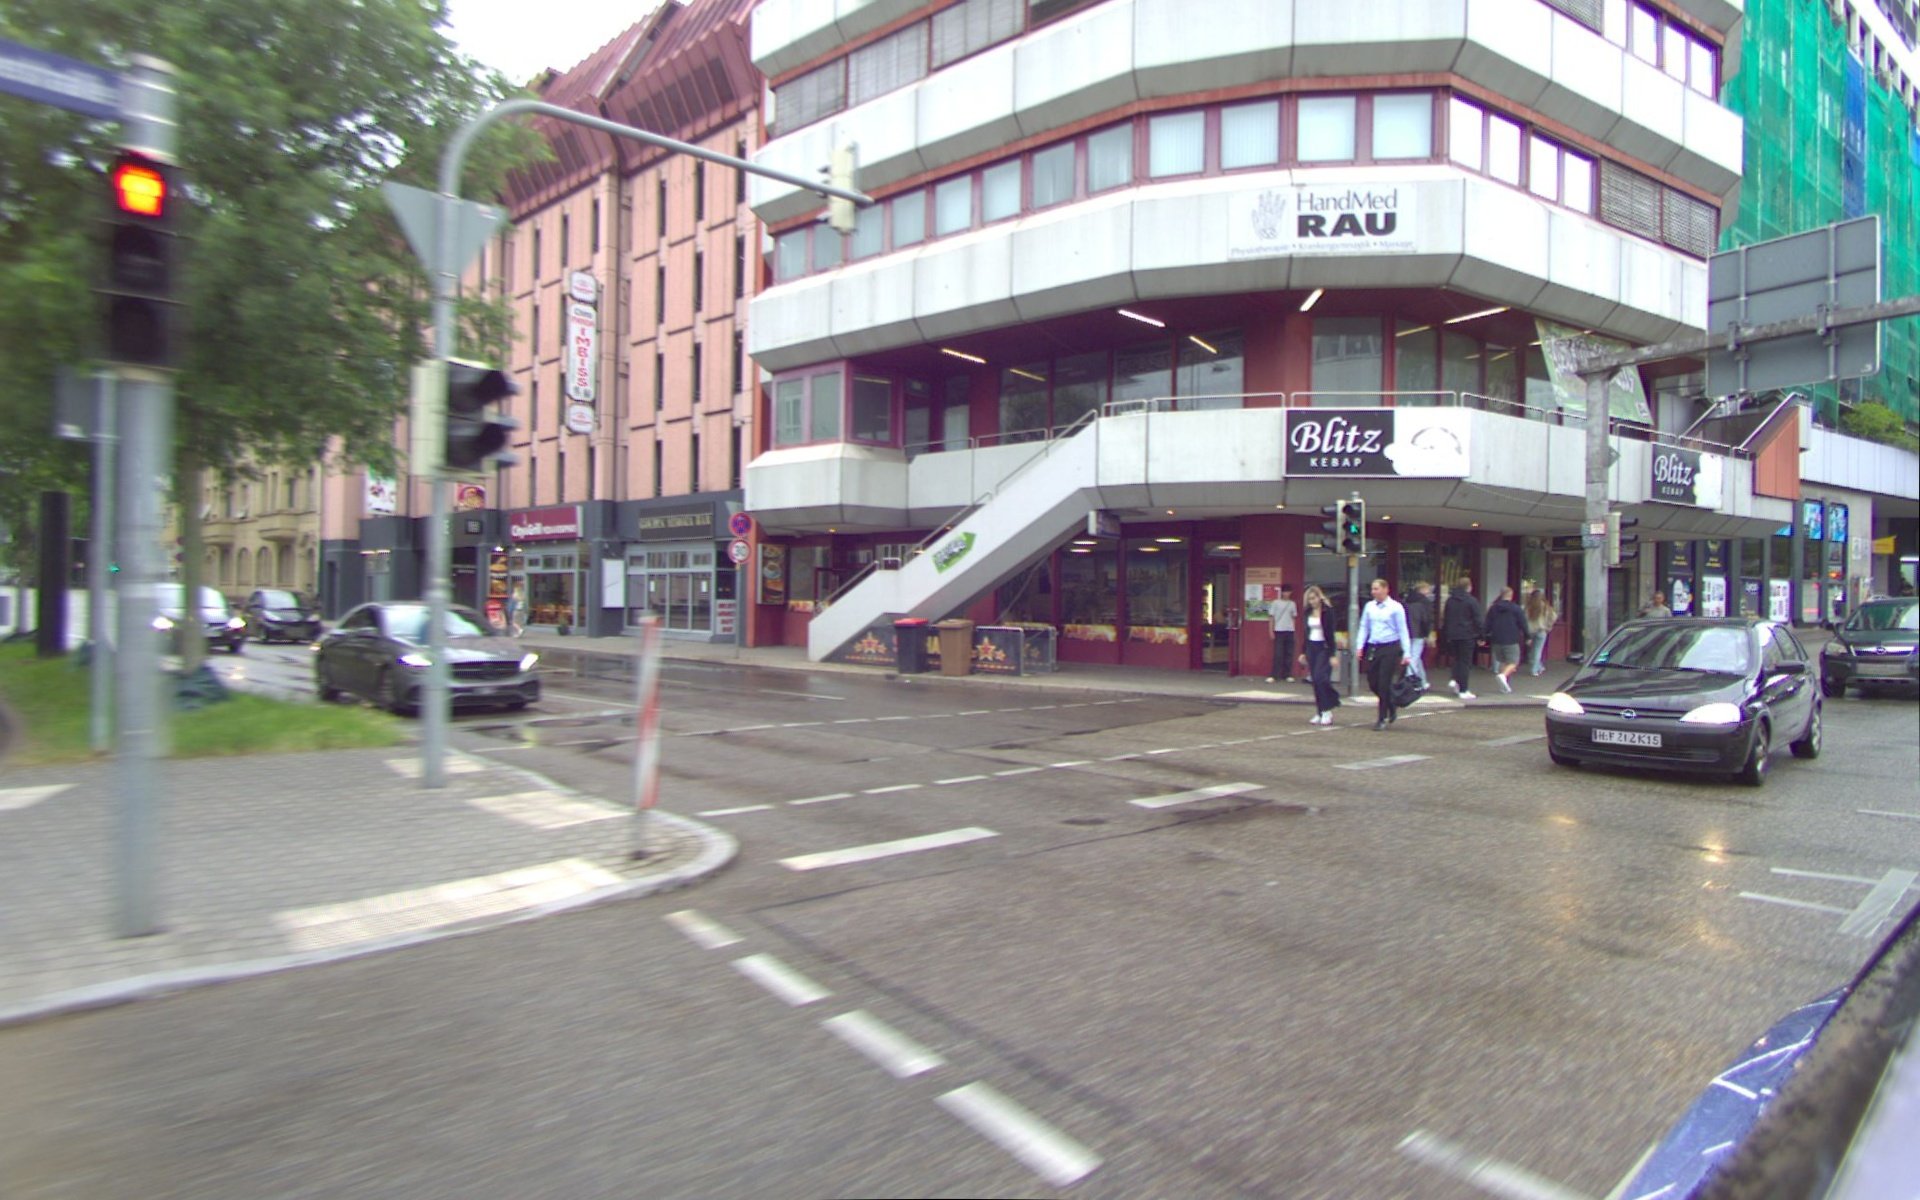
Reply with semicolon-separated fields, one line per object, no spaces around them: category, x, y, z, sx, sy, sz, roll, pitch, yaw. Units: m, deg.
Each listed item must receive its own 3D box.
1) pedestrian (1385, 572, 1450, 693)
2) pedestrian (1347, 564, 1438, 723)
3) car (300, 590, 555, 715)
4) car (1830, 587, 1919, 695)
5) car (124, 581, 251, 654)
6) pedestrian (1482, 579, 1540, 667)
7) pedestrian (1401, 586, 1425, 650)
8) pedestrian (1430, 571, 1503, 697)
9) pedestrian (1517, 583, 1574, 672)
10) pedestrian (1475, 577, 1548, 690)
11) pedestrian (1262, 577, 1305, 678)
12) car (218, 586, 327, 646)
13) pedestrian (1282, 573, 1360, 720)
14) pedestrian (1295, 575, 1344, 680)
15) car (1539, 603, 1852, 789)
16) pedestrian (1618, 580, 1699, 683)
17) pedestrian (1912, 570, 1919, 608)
pedestrian;7.492;0.500;16.580;0.664;1.919;0.734;-1;1;-36
pedestrian;5.318;0.501;12.448;0.831;1.870;0.625;-2;1;-29
car;-7.391;0.598;13.869;4.257;1.438;1.760;1;0;42
car;16.633;0.643;17.398;4.171;1.700;1.735;0;-1;-38
car;-19.040;0.383;24.896;3.986;1.616;1.857;1;1;43
pedestrian;11.121;0.452;20.426;0.952;1.727;0.591;1;1;-33
pedestrian;10.956;0.430;24.472;0.453;1.505;0.507;0;2;16
pedestrian;8.041;0.513;16.058;0.775;1.925;0.761;-1;1;-35
pedestrian;11.507;0.530;19.892;0.922;1.684;0.576;1;1;-33
pedestrian;9.201;0.536;16.884;0.872;1.802;0.750;-1;0;-39
pedestrian;5.861;0.481;18.339;0.502;1.785;0.528;-2;1;-35
car;-20.093;0.481;29.528;3.985;1.571;1.780;-3;0;43
pedestrian;4.617;0.569;12.949;0.663;1.795;0.625;-2;1;-29
pedestrian;6.292;0.462;17.717;0.483;1.785;0.597;-2;1;-35
car;7.227;0.791;9.836;3.561;1.459;1.596;1;0;-39
pedestrian;13.083;0.560;18.961;0.789;1.800;0.900;-2;6;-32
pedestrian;38.674;-0.437;40.638;0.518;1.507;0.426;0;2;24
